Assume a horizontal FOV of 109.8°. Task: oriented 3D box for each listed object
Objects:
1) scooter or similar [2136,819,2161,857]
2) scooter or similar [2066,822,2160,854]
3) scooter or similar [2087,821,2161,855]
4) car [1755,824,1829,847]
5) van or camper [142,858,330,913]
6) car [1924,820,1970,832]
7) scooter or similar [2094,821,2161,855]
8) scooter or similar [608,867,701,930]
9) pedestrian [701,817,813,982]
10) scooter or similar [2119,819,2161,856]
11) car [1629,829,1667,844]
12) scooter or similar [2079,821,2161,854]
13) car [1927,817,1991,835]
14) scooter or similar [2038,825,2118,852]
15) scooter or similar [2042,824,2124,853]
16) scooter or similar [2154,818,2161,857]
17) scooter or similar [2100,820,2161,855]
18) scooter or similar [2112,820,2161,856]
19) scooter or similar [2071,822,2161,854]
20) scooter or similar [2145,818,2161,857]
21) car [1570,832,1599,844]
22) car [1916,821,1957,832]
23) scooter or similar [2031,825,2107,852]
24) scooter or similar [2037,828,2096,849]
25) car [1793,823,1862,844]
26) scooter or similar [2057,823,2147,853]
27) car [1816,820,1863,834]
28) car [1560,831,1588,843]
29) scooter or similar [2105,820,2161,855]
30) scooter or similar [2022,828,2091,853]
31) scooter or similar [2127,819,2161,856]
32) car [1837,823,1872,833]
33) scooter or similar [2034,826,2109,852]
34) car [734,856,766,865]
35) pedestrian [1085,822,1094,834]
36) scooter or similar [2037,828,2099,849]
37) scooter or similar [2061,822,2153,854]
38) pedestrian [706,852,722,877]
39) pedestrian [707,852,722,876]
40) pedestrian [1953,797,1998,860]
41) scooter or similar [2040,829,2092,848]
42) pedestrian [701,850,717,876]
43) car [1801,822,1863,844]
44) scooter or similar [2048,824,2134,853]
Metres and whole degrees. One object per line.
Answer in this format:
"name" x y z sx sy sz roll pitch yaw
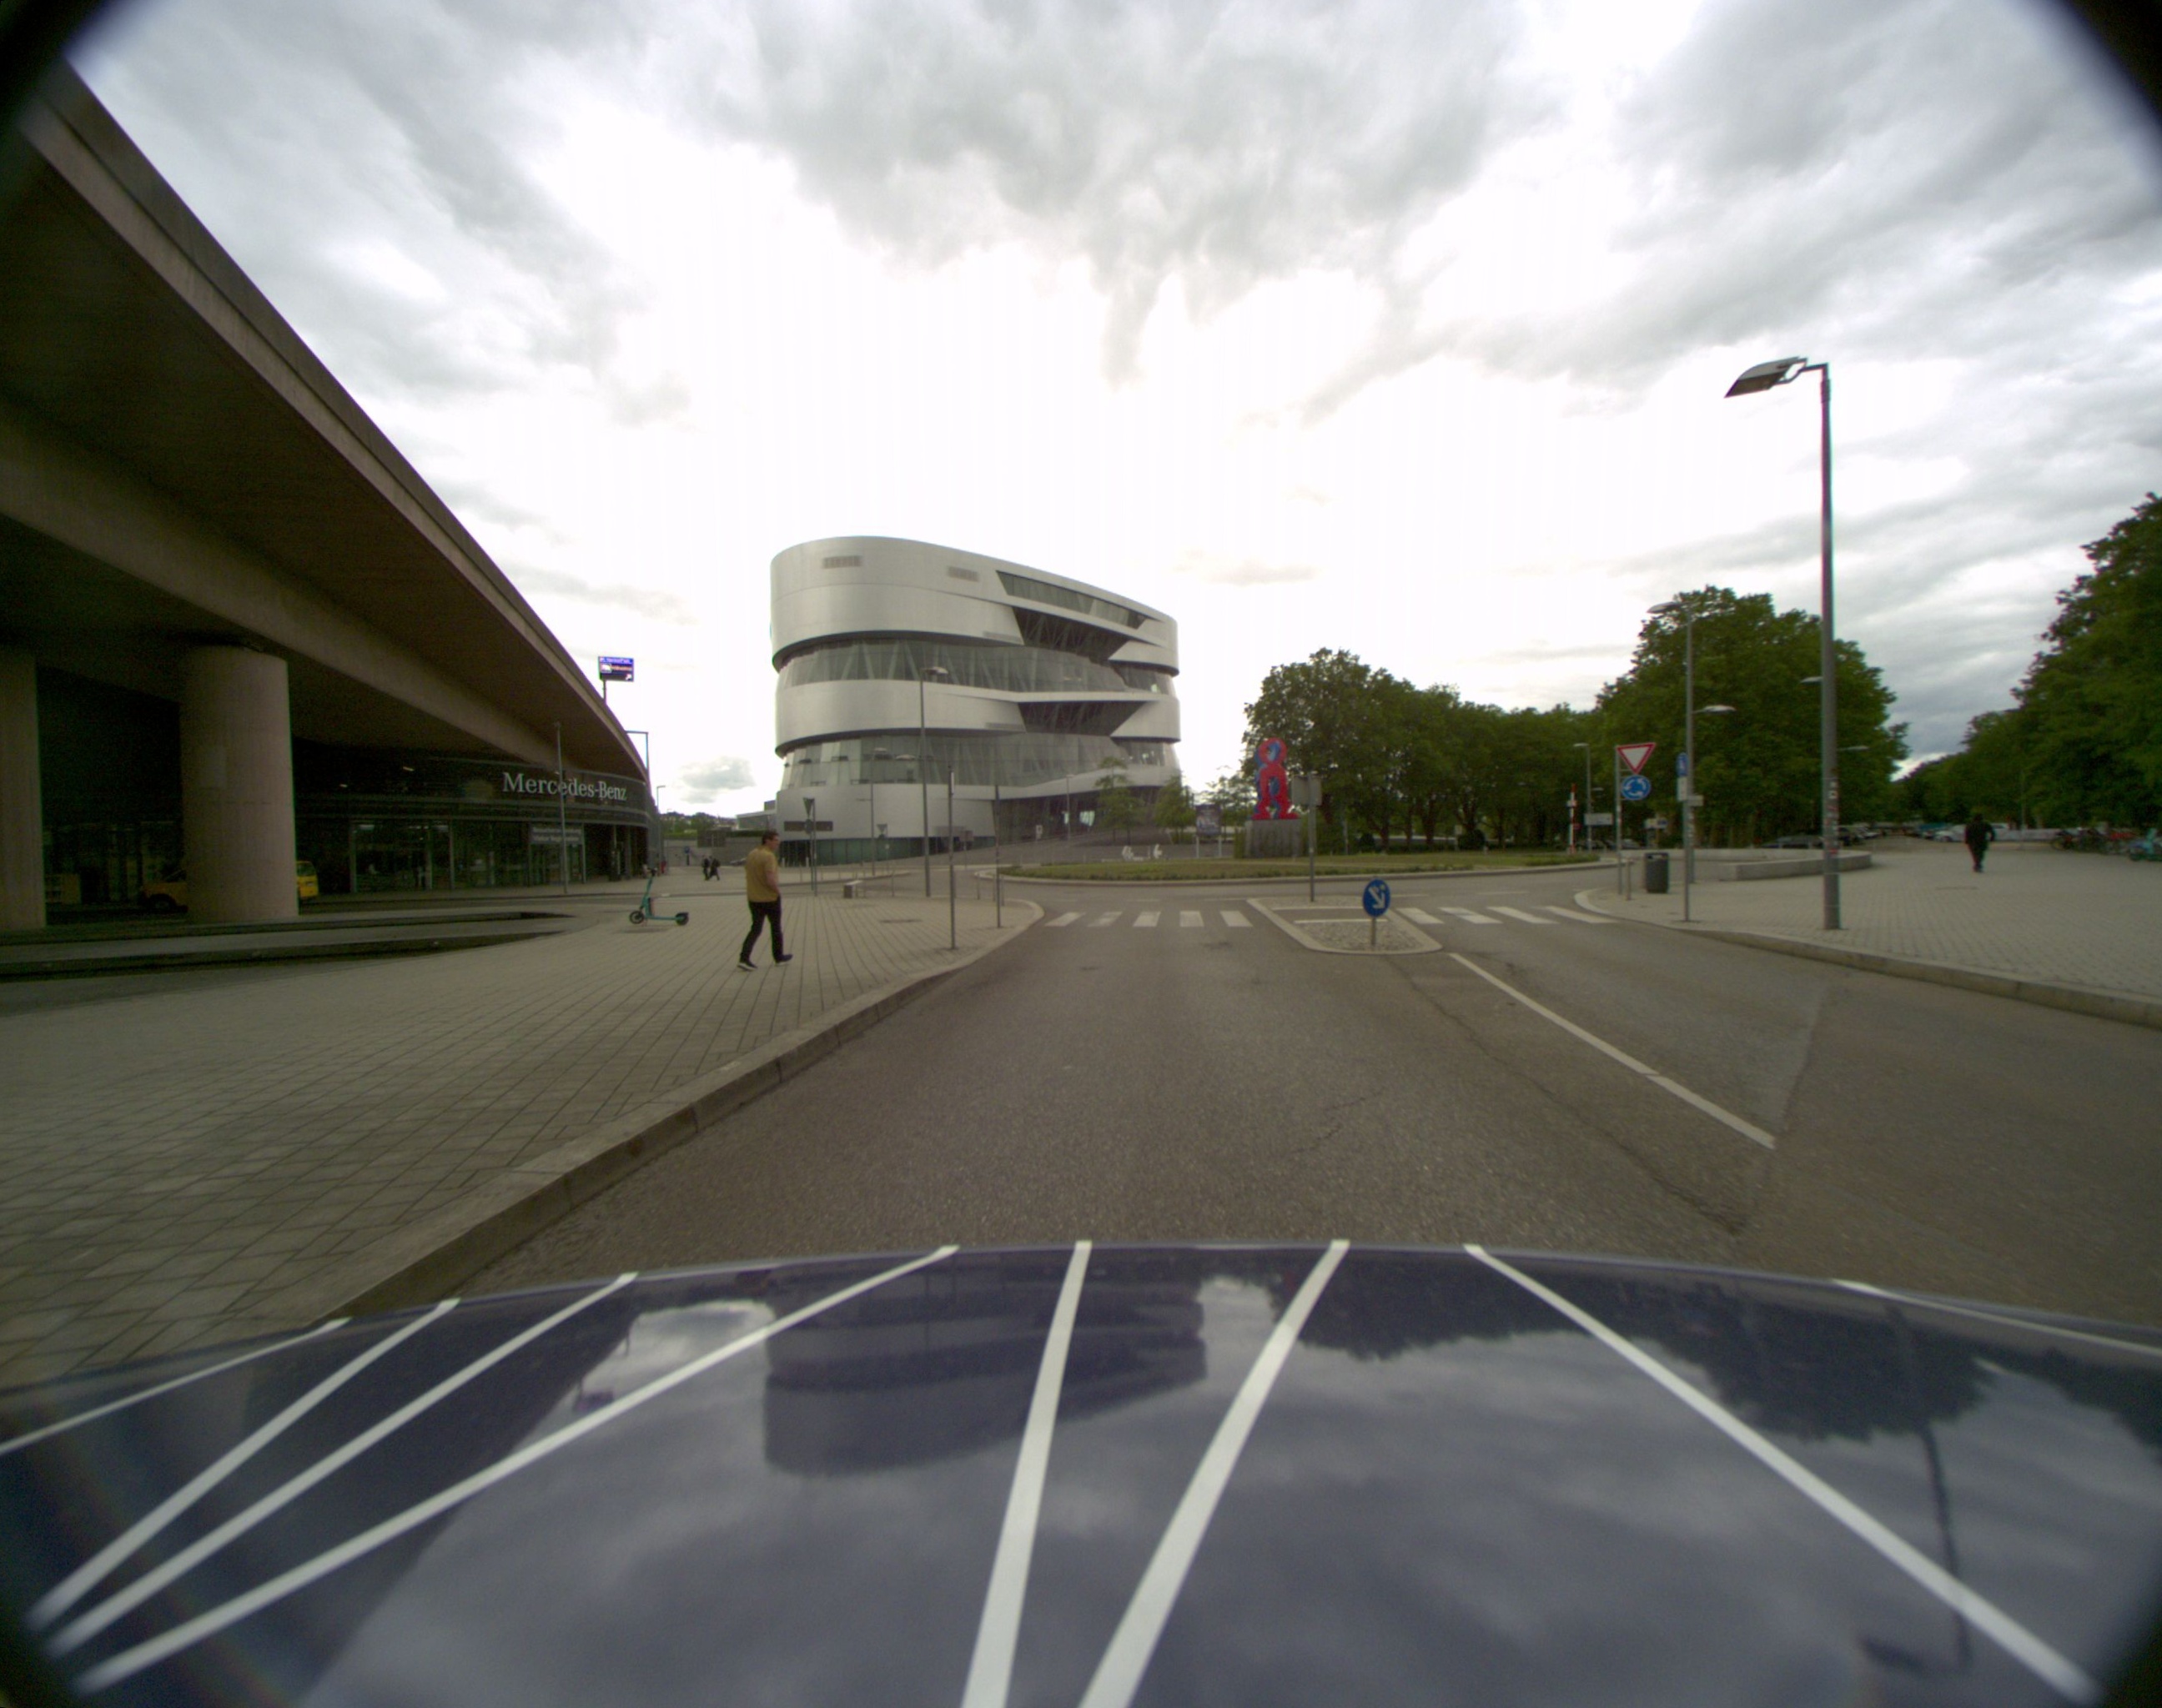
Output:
"scooter or similar" 32.545 -0.499 22.167 1.970 1.102 0.642 -2 0 44
"scooter or similar" 38.249 -0.583 28.203 1.970 1.102 0.642 -2 0 44
"scooter or similar" 36.229 -0.545 26.079 1.970 1.102 0.642 -2 0 44
"car" 51.216 -1.311 54.775 3.815 1.516 1.783 -2 0 45
"van or camper" -34.039 1.237 30.836 4.510 1.987 2.358 -1 -1 -24
"car" 131.753 -4.235 115.658 4.424 1.642 1.800 -2 0 41
"scooter or similar" 35.631 -0.546 25.442 1.970 1.102 0.642 -2 0 44
"scooter or similar" -9.091 0.942 16.234 1.649 1.288 0.518 -1 0 -5
"pedestrian" -4.170 0.563 9.844 0.783 2.002 1.041 -1 0 21
"scooter or similar" 33.558 -0.517 23.277 1.970 1.102 0.642 -2 0 44
"car" 74.364 -2.271 99.678 1.674 1.767 3.701 -1 0 -43
"scooter or similar" 36.806 -0.562 26.716 1.970 1.102 0.642 -2 0 44
"car" 96.347 -3.055 83.415 4.424 1.642 1.800 -2 0 44
"scooter or similar" 42.121 -0.641 32.134 1.970 1.102 0.642 -2 0 44
"scooter or similar" 41.490 -0.632 31.503 1.970 1.102 0.642 -2 0 44
"scooter or similar" 31.405 -0.487 20.972 1.970 1.102 0.642 -2 0 44
"scooter or similar" 35.065 -0.543 24.861 1.970 1.102 0.642 -2 0 44
"scooter or similar" 34.034 -0.519 23.796 1.970 1.102 0.642 -2 0 44
"scooter or similar" 37.761 -0.576 27.685 1.970 1.102 0.642 -2 0 44
"scooter or similar" 31.994 -0.495 21.580 1.970 1.102 0.642 -2 0 44
"car" 79.153 -2.512 119.515 1.691 1.838 3.441 -3 2 -35
"car" 146.582 -4.777 130.274 4.424 1.642 1.800 -2 0 41
"scooter or similar" 43.573 -0.661 33.540 1.970 1.102 0.642 -2 0 44
"scooter or similar" 55.459 -0.862 42.783 1.970 1.102 0.642 -2 0 44
"car" 67.898 -1.810 69.169 4.424 1.723 1.800 -2 0 44
"scooter or similar" 39.248 -0.603 29.245 1.970 1.102 0.642 -2 0 44
"car" 105.013 -3.765 105.267 4.424 1.723 1.800 -2 0 41
"car" 75.785 -2.569 116.815 3.440 1.675 1.691 0 2 44
"scooter or similar" 34.512 -0.535 24.323 1.970 1.102 0.642 -2 0 44
"scooter or similar" 46.893 -0.628 36.556 1.970 1.102 0.642 -2 0 44
"scooter or similar" 33.028 -0.512 22.724 1.970 1.102 0.642 -2 0 44
"car" 146.720 -4.899 144.163 4.424 1.805 1.800 -2 0 41
"scooter or similar" 44.676 -0.681 34.303 1.970 1.102 0.642 -2 0 44
"car" -56.188 1.167 129.075 4.915 1.390 1.532 -1 0 -29
"pedestrian" 1.426 -4.422 127.685 0.850 1.914 0.954 -2 4 45
"scooter or similar" 53.823 -0.832 41.474 1.970 1.102 0.642 -2 0 44
"scooter or similar" 38.735 -0.594 28.725 1.970 1.102 0.642 -2 0 44
"pedestrian" -25.038 0.698 51.838 0.774 1.695 0.863 -1 0 -36
"pedestrian" -25.384 0.695 52.660 0.774 1.695 0.785 -1 0 -36
"pedestrian" 26.592 -0.738 22.608 0.867 1.797 0.791 -1 0 -44
"scooter or similar" 58.147 -0.894 44.872 1.804 1.088 0.547 -2 0 44
"pedestrian" -26.061 0.653 53.245 0.784 1.788 0.863 -1 0 -38
"car" 65.386 -1.816 66.177 1.674 1.767 3.701 -1 0 -42
"scooter or similar" 40.232 -0.601 30.315 1.970 1.102 0.642 -2 0 44
